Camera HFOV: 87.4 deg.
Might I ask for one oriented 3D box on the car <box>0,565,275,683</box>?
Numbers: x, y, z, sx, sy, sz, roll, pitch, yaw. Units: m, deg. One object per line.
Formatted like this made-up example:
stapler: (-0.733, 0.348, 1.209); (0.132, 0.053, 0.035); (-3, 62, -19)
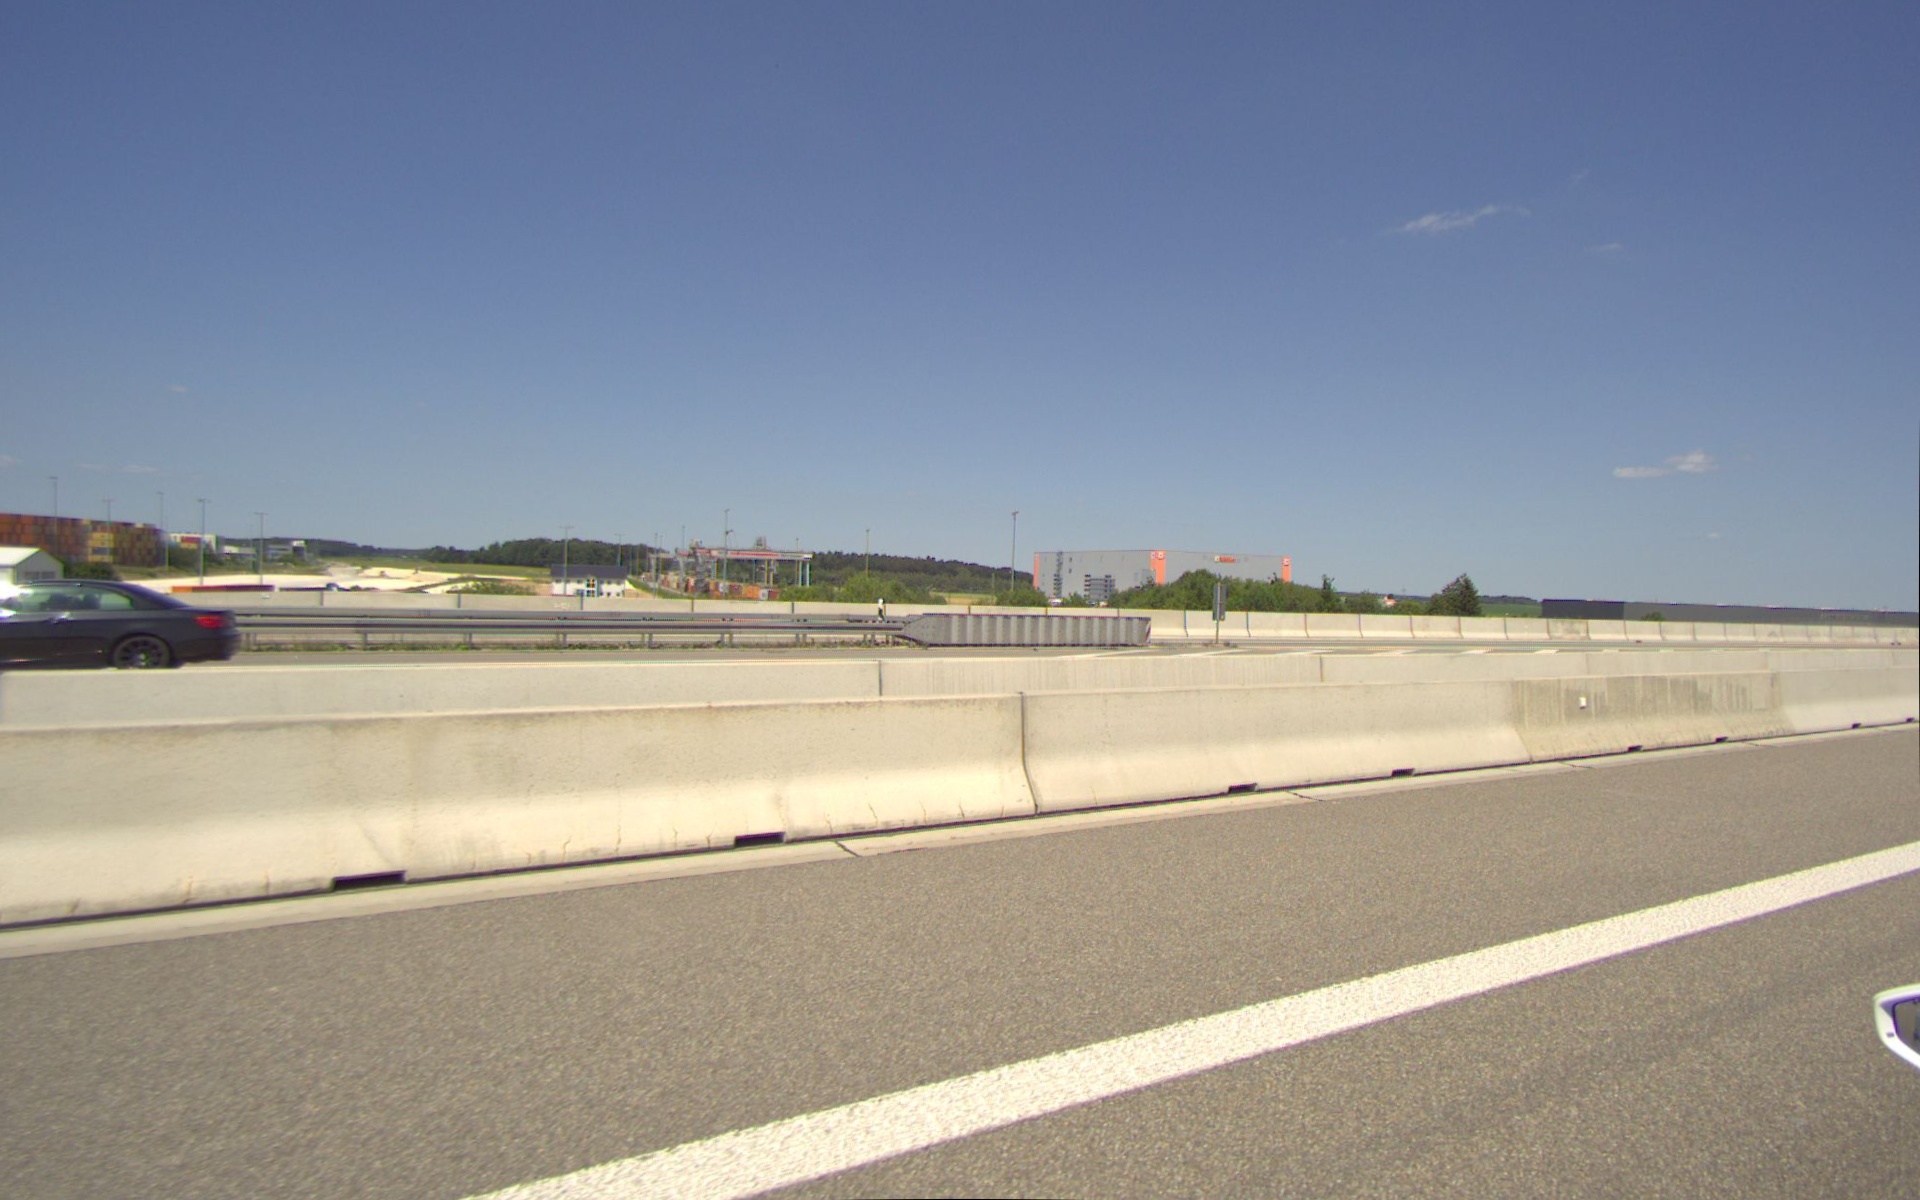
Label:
car: (-12.590, 0.310, 14.344); (4.495, 1.557, 1.724); (1, 0, -30)
